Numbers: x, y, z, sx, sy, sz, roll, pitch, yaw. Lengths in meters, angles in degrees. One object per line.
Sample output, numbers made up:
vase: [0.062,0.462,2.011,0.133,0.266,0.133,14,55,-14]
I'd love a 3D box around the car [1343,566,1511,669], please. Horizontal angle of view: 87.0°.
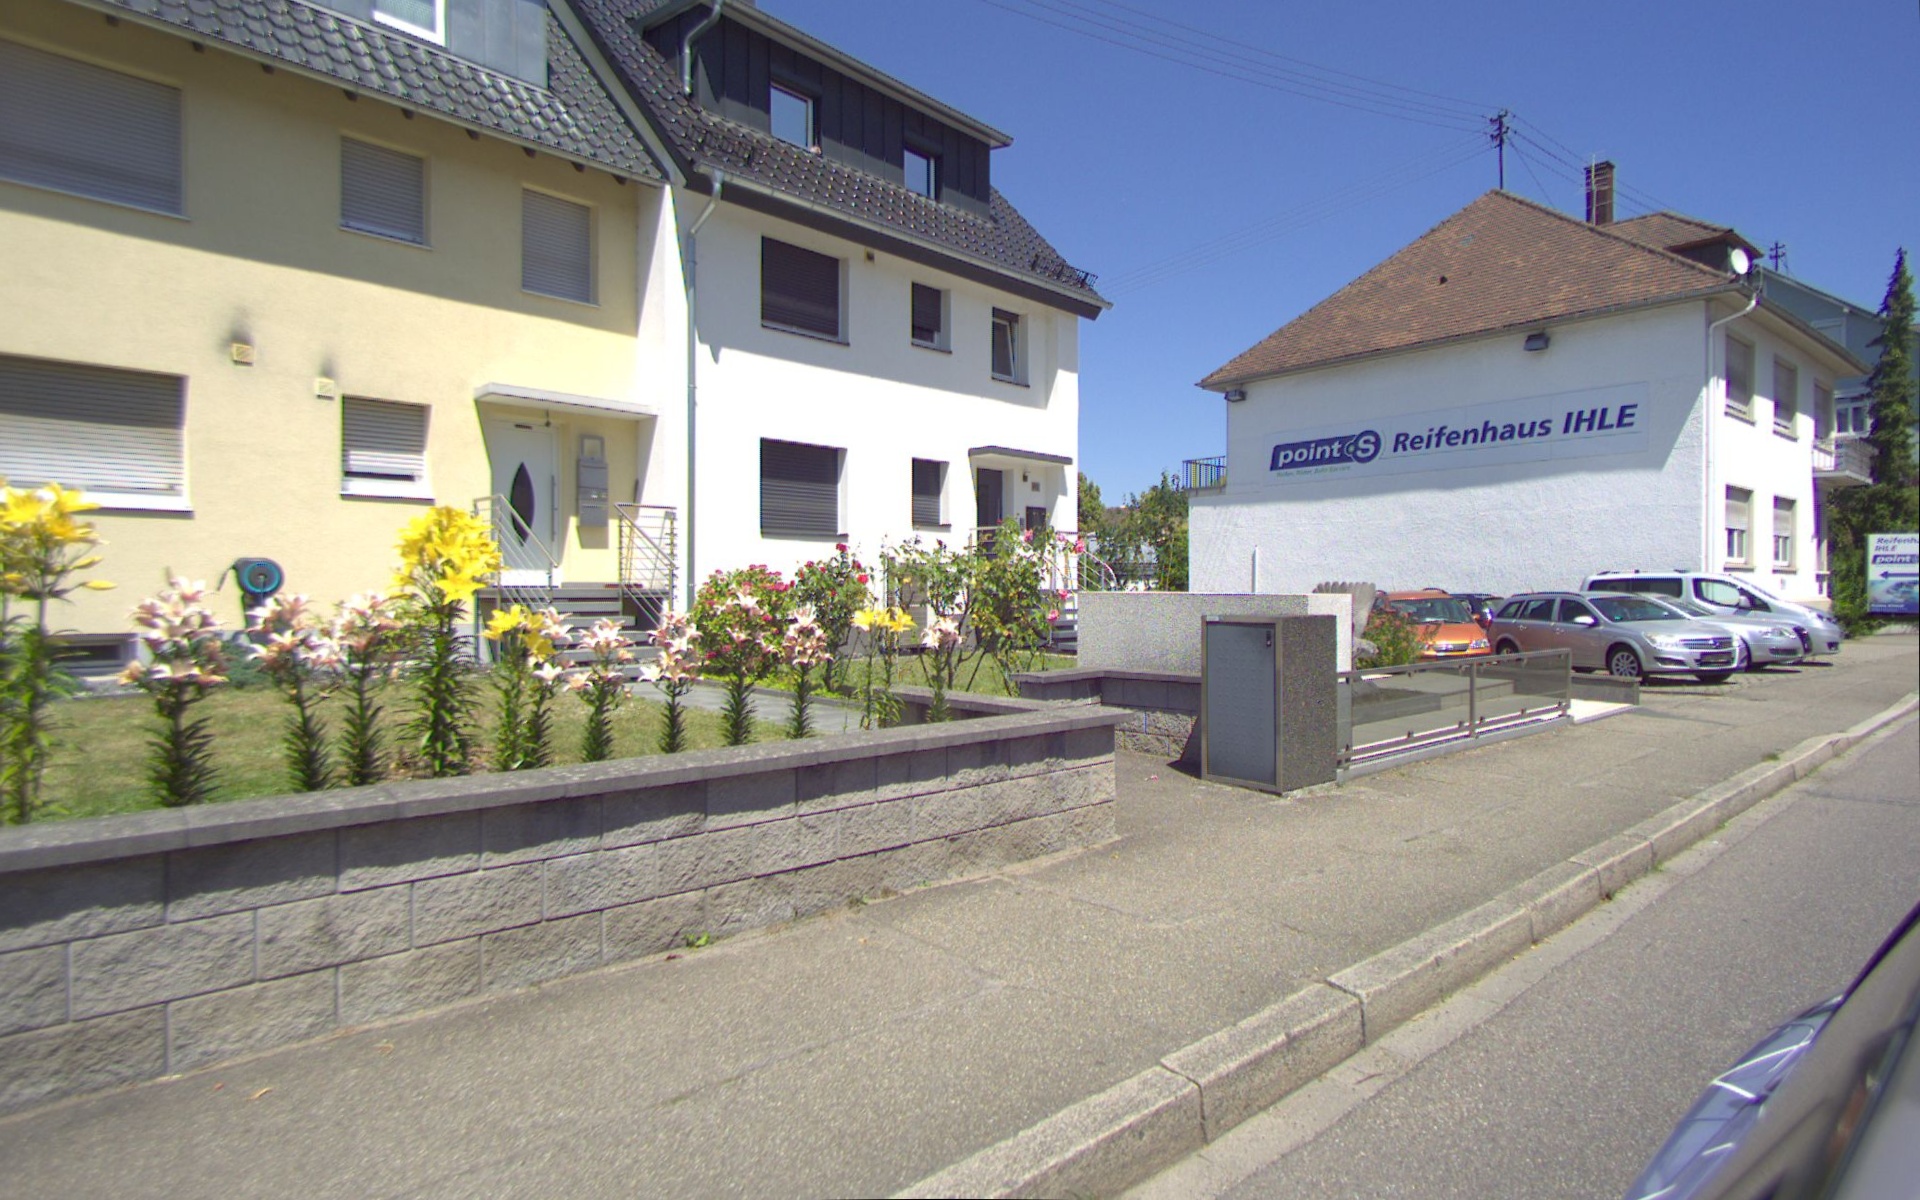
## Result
car: [8.652,0.311,19.162,1.611,1.663,4.294,-3,-1,8]

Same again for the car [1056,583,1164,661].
car: [3.820,0.527,25.241,1.607,1.746,3.811,-3,-2,25]

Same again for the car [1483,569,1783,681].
car: [11.005,0.392,17.010,1.721,1.567,4.309,-3,-1,-7]

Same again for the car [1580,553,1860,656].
car: [15.156,0.158,20.348,4.288,1.854,1.712,-3,-2,43]

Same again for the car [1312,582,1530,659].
car: [10.122,0.438,22.513,1.960,1.505,4.004,-2,0,-29]

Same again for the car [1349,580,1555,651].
car: [11.695,0.359,24.320,1.960,1.505,4.004,-2,0,-29]

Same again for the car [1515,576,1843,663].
car: [13.200,0.407,18.891,1.736,1.427,4.650,-1,-2,-38]

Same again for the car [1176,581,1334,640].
car: [8.195,0.296,28.467,1.960,1.505,4.004,-2,0,-29]

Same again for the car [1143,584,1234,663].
car: [5.262,0.493,23.012,1.603,1.582,3.751,-3,-1,18]

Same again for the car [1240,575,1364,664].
car: [6.945,0.368,20.969,1.685,1.582,4.108,-3,-1,9]

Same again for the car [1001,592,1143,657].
car: [3.373,0.728,31.027,1.967,1.816,3.990,-2,0,-43]
